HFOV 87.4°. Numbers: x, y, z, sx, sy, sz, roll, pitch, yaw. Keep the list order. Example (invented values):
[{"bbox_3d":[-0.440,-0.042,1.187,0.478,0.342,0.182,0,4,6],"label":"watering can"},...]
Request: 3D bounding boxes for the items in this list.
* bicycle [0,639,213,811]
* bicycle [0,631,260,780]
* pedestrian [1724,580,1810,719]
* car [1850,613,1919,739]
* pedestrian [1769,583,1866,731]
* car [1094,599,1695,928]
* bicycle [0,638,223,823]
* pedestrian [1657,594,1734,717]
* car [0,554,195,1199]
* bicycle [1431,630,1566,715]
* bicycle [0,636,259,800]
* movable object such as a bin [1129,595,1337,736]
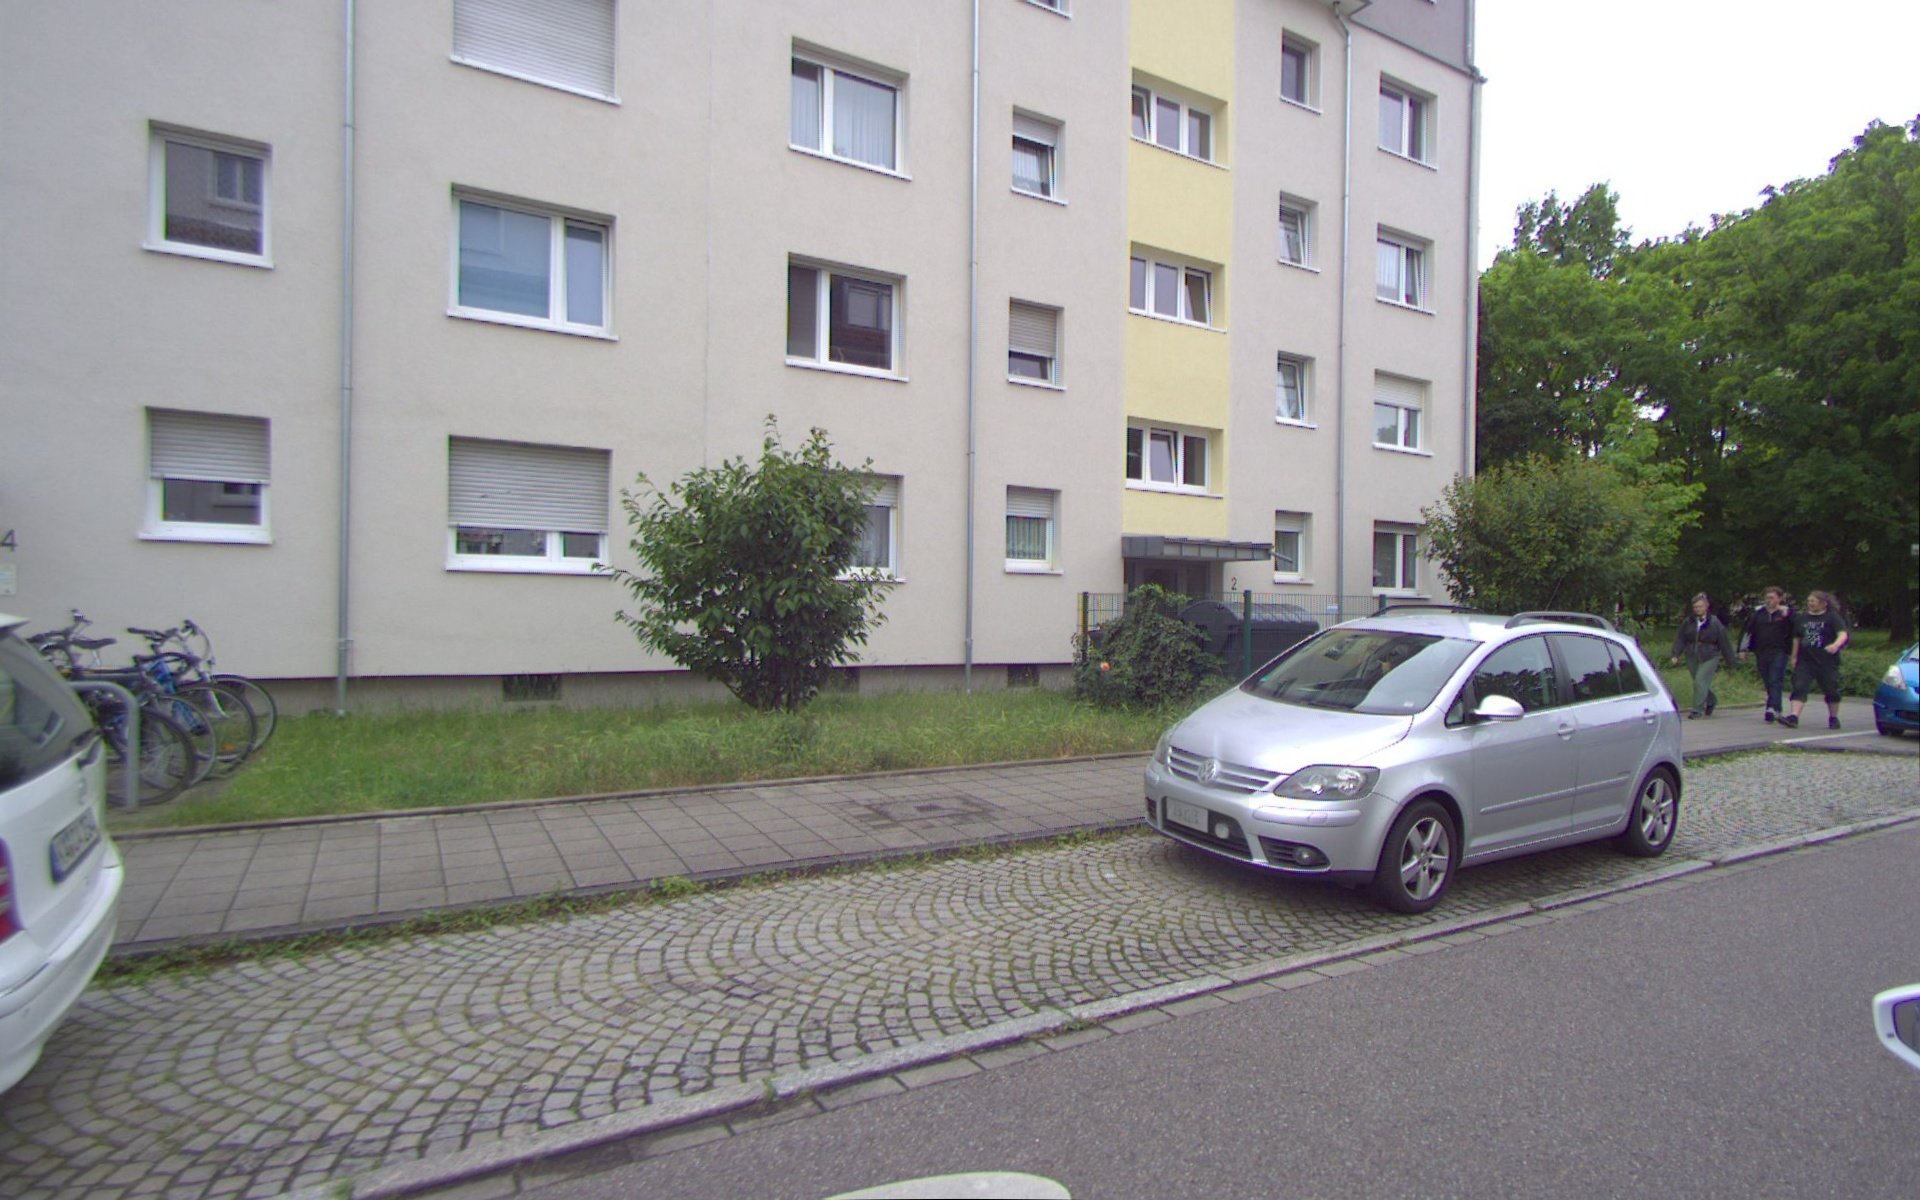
[{"bbox_3d":[-5.768,0.786,6.488,1.480,1.038,0.354,0,0,-31],"label":"bicycle"},{"bbox_3d":[-6.347,0.771,7.742,1.543,1.038,0.417,0,0,-34],"label":"bicycle"},{"bbox_3d":[11.307,0.673,14.080,0.754,1.879,0.703,0,0,-30],"label":"pedestrian"},{"bbox_3d":[13.347,0.961,12.882,3.910,1.482,1.722,1,2,-30],"label":"car"},{"bbox_3d":[11.420,0.731,13.382,0.963,1.889,0.637,0,2,-30],"label":"pedestrian"},{"bbox_3d":[2.952,0.829,6.677,3.868,1.572,1.646,0,3,-30],"label":"car"},{"bbox_3d":[-5.607,0.768,6.030,1.856,1.038,0.485,0,0,-31],"label":"bicycle"},{"bbox_3d":[10.376,0.759,14.176,0.793,1.679,0.611,0,0,-30],"label":"pedestrian"},{"bbox_3d":[-4.173,0.704,2.285,3.685,1.660,1.676,1,0,-32],"label":"car"},{"bbox_3d":[7.532,0.981,14.022,2.096,1.082,0.654,0,0,-30],"label":"bicycle"},{"bbox_3d":[-5.938,0.781,6.961,1.734,1.038,0.476,0,0,-31],"label":"bicycle"},{"bbox_3d":[3.073,0.675,11.402,1.652,1.440,1.581,0,0,-31],"label":"movable object such as a bin"}]
